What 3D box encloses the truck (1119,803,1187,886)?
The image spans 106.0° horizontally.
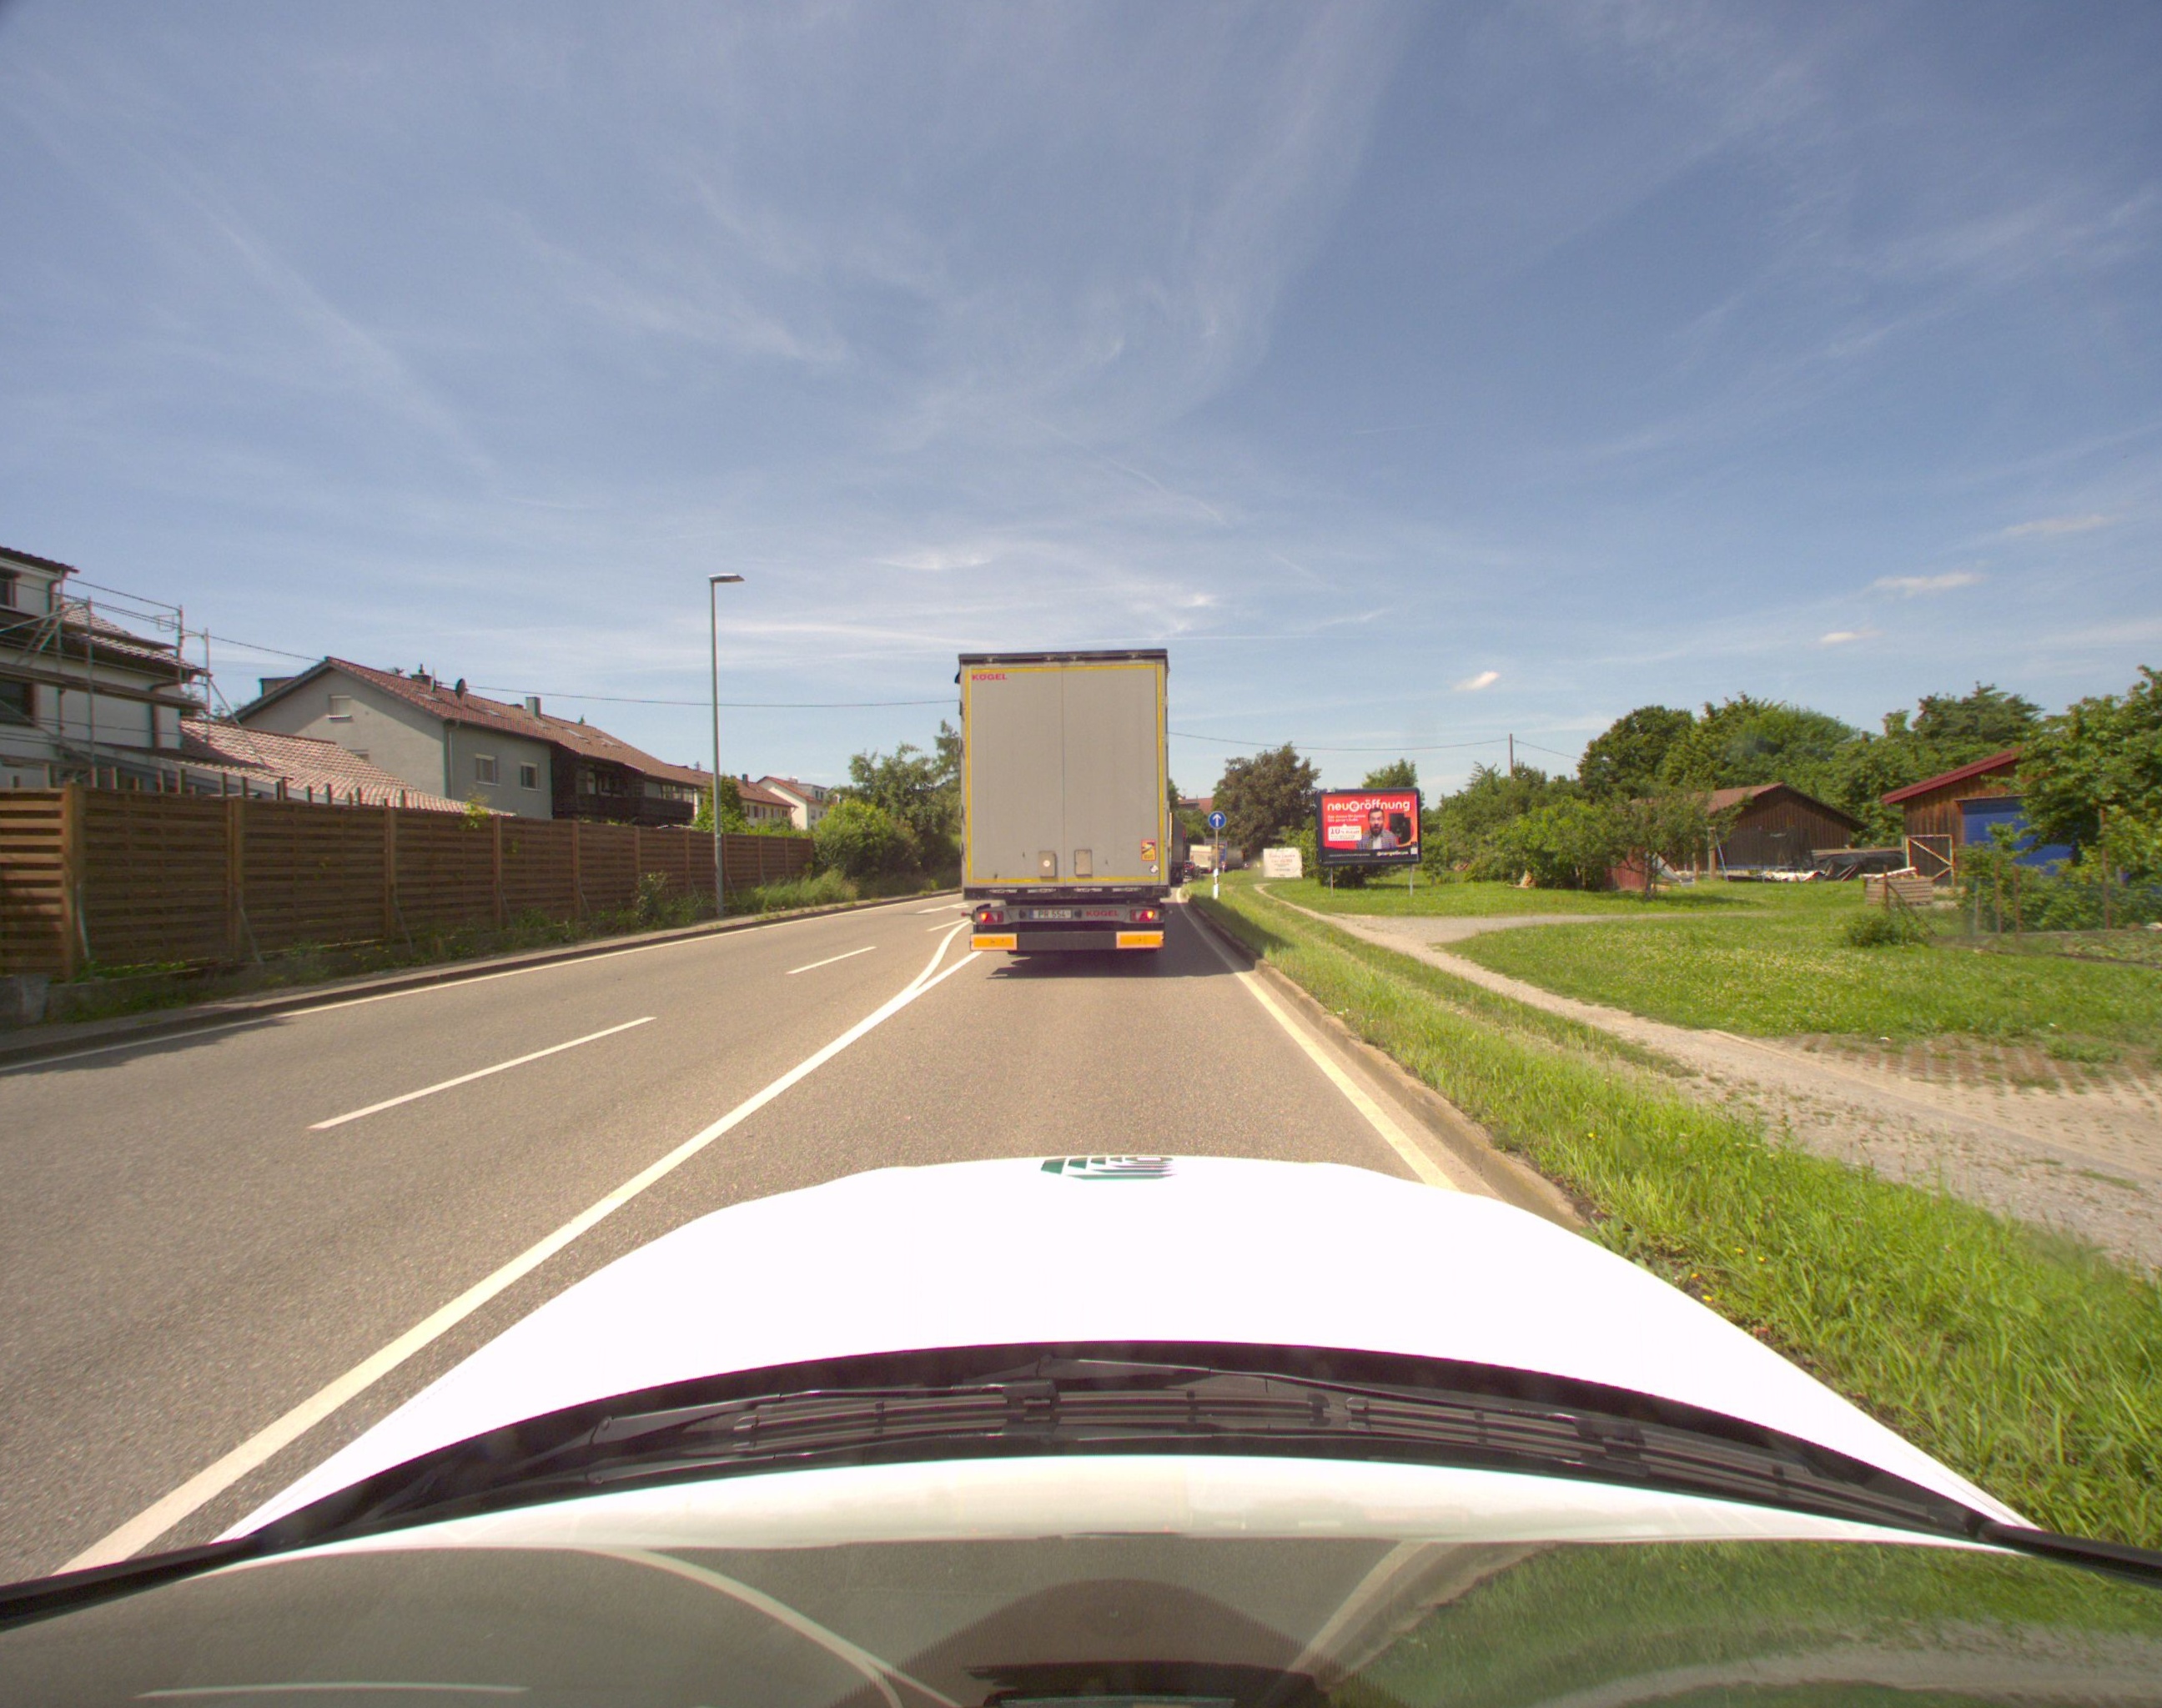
[{"bbox_3d":[4.803,-0.371,50.397,2.743,4.289,16.460,0,-1,10],"label":"truck"}]

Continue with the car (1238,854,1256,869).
[{"bbox_3d":[23.027,1.016,113.023,1.978,2.014,4.018,-1,-1,17],"label":"car"}]

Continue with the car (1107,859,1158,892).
[{"bbox_3d":[2.309,0.908,35.583,1.808,1.346,3.857,0,-1,9],"label":"car"}]

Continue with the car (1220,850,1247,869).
[{"bbox_3d":[19.232,0.632,102.466,2.512,2.277,6.410,0,0,17],"label":"car"}]

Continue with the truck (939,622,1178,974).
[{"bbox_3d":[0.146,-0.671,15.333,2.809,4.127,11.456,0,0,4],"label":"truck"}]

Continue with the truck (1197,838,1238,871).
[{"bbox_3d":[15.632,0.007,92.535,3.406,3.604,9.395,-1,0,17],"label":"truck"}]

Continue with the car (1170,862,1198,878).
[{"bbox_3d":[8.924,1.352,70.381,1.979,1.376,4.015,0,-1,14],"label":"car"}]

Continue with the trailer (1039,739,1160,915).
[{"bbox_3d":[0.720,-0.645,22.539,2.812,4.111,6.553,-1,0,5],"label":"trailer"}]

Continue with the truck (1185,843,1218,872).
[{"bbox_3d":[12.073,0.378,81.236,2.524,2.803,6.057,-1,-1,16],"label":"truck"}]
